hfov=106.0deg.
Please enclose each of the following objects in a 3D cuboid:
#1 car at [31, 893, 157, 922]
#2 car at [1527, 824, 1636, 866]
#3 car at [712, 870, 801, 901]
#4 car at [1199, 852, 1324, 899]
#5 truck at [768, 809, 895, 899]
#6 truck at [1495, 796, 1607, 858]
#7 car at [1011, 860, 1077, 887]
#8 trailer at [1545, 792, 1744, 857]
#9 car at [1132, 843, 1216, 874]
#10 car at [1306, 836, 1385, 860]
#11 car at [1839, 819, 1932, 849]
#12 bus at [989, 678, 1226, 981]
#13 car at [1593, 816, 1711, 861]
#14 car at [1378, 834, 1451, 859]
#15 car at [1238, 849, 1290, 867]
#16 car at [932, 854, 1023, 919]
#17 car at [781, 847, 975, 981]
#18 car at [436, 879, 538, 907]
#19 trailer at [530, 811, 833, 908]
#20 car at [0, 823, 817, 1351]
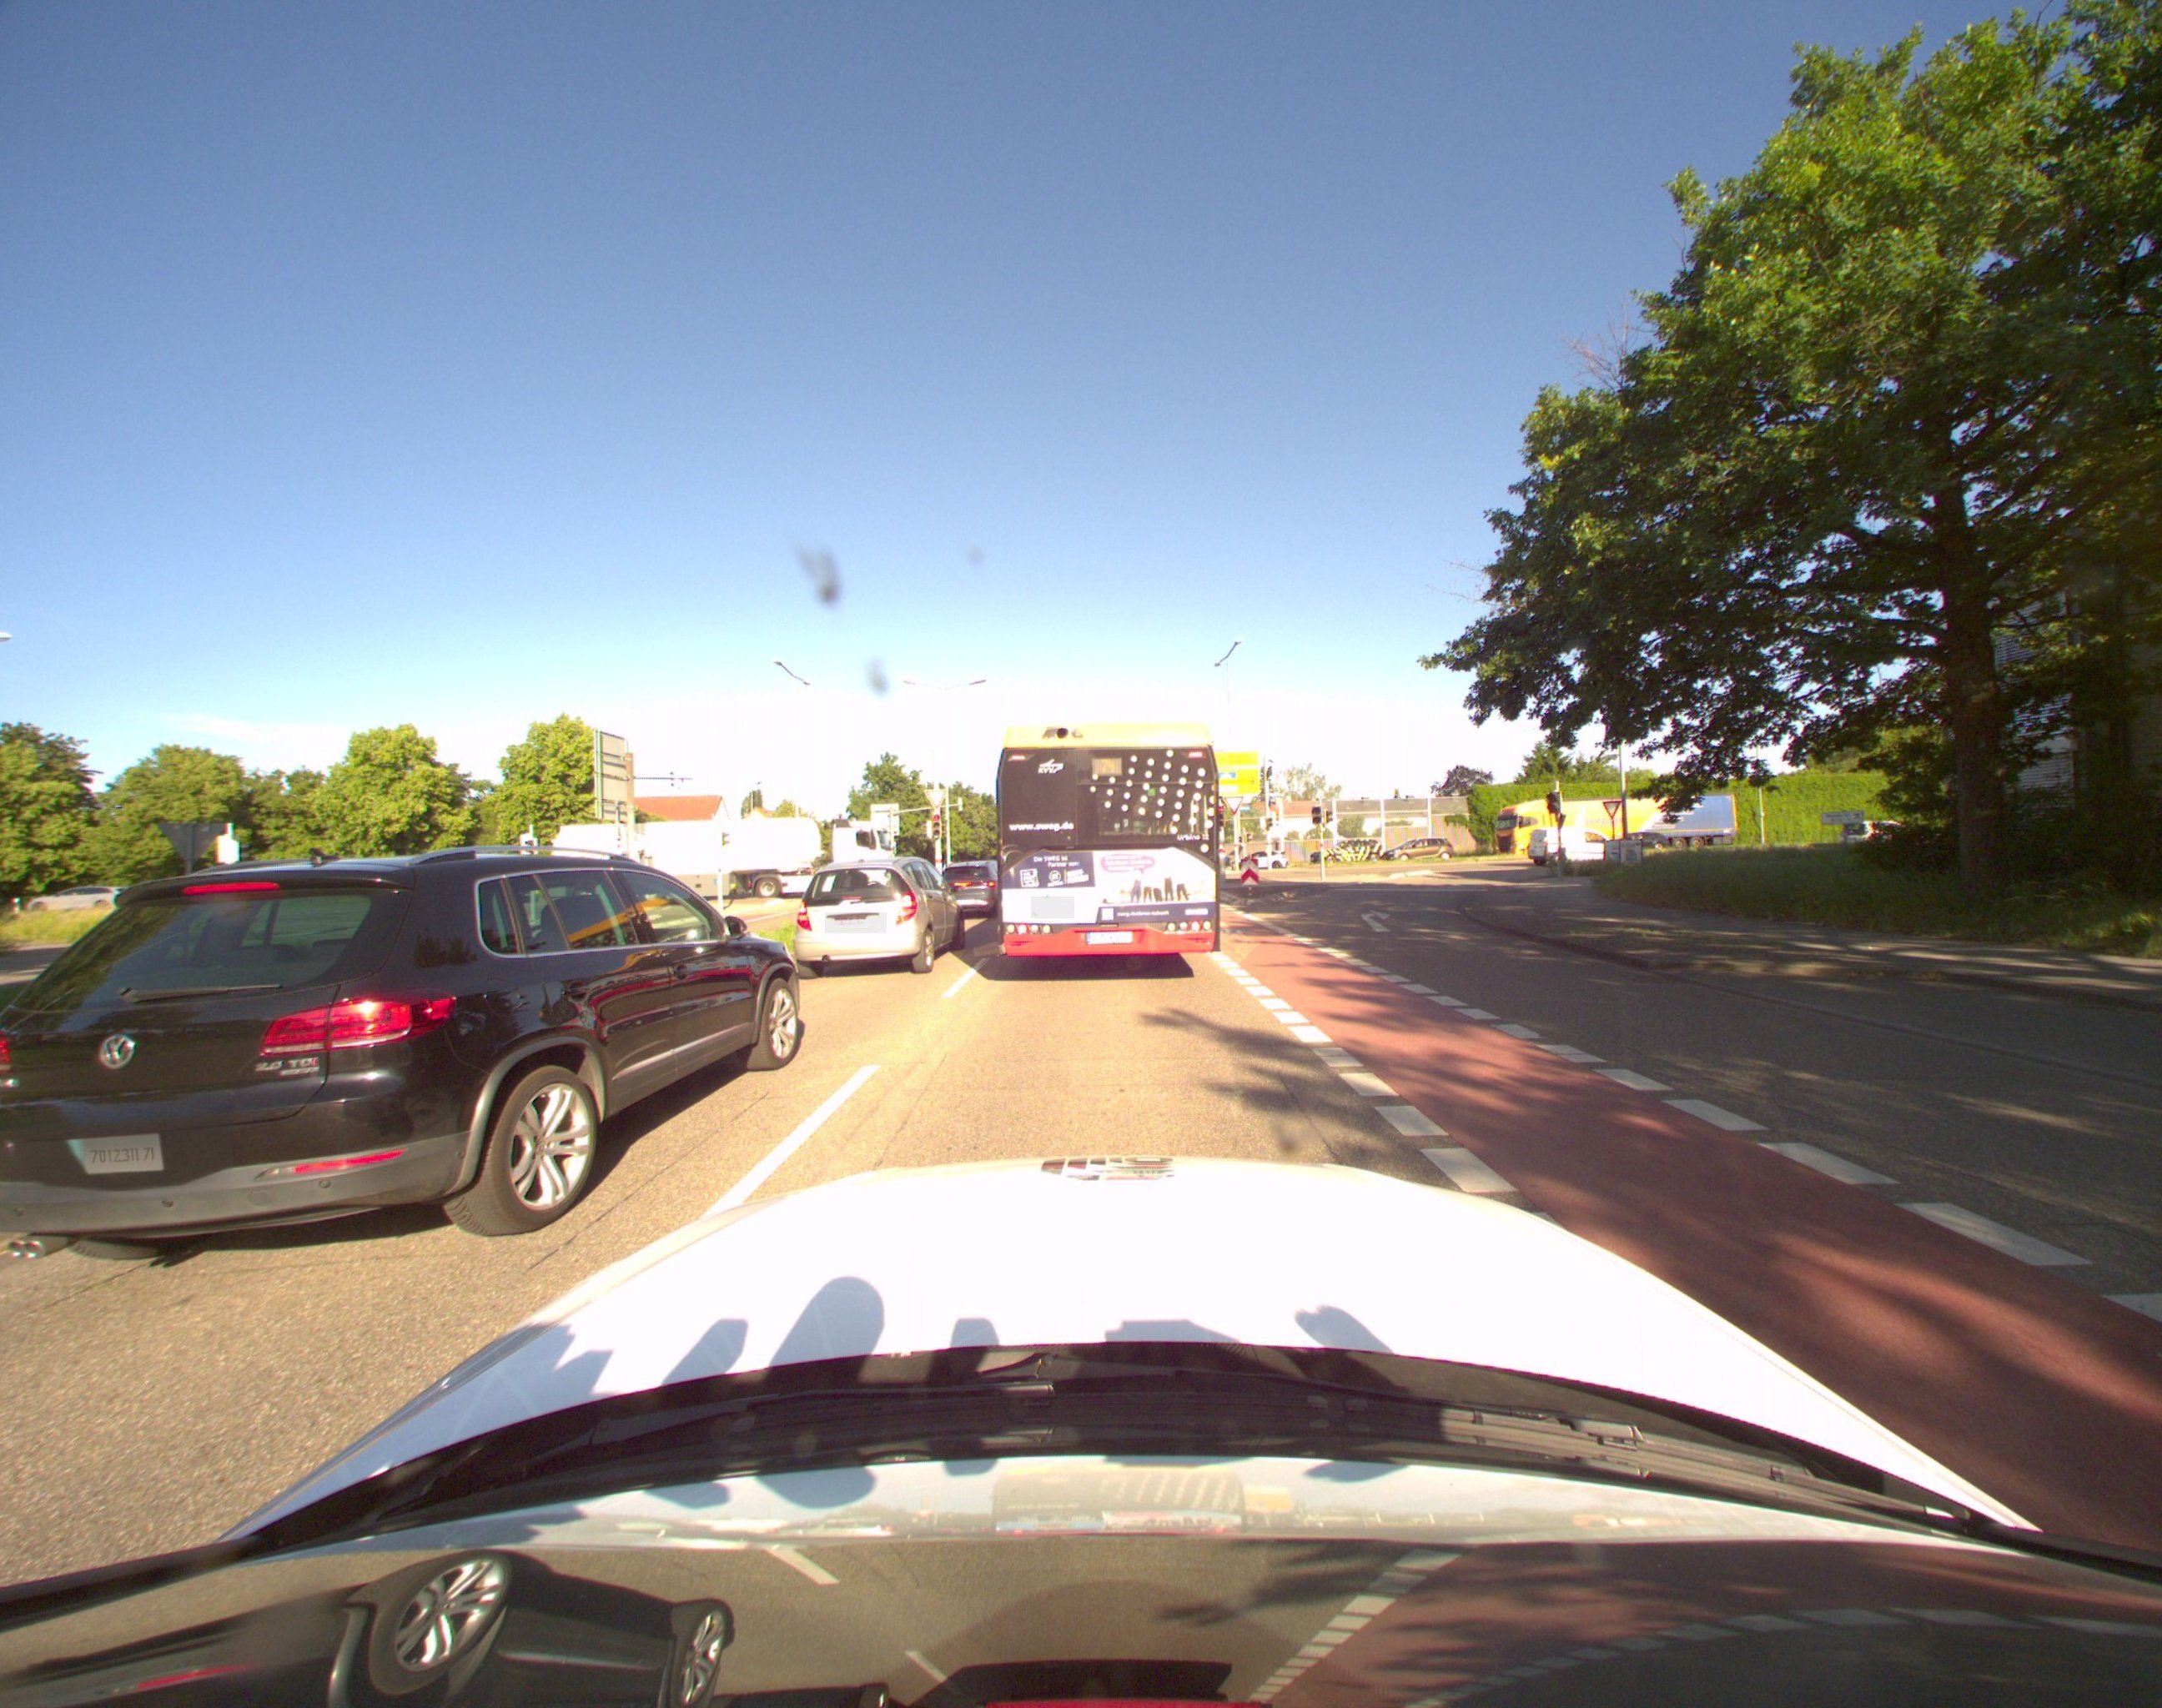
[{"bbox_3d":[-54.077,2.912,44.689,4.414,1.459,1.569,-1,-1,-10],"label":"car"},{"bbox_3d":[23.422,-0.407,38.194,4.094,1.801,1.459,-2,-1,3],"label":"car"},{"bbox_3d":[-19.117,1.835,48.152,4.522,1.715,1.995,-1,-1,-7],"label":"car"},{"bbox_3d":[5.333,0.618,24.245,3.500,1.302,1.579,-1,1,10],"label":"car"},{"bbox_3d":[-10.921,-0.020,36.028,4.790,3.695,2.408,-2,0,-3],"label":"truck"},{"bbox_3d":[32.234,-1.825,55.974,6.387,3.998,2.468,-2,0,-5],"label":"truck"},{"bbox_3d":[-2.273,1.189,49.808,3.980,1.553,1.693,-1,-1,-5],"label":"car"},{"bbox_3d":[39.091,-2.021,56.601,12.712,4.030,2.466,-2,0,-5],"label":"trailer"},{"bbox_3d":[4.913,0.260,43.315,4.212,1.563,1.761,-1,-1,-3],"label":"car"},{"bbox_3d":[15.418,-0.325,47.571,4.148,1.302,1.573,-1,-1,-2],"label":"car"},{"bbox_3d":[44.210,-1.082,44.778,3.664,1.486,1.591,-2,-1,-5],"label":"car"},{"bbox_3d":[0.480,-0.272,15.052,2.586,3.334,11.988,-1,0,2],"label":"bus"},{"bbox_3d":[17.890,-0.463,25.502,3.412,1.296,1.449,0,-1,-24],"label":"car"},{"bbox_3d":[21.111,-0.470,51.612,3.980,1.442,1.563,-1,-1,-5],"label":"car"},{"bbox_3d":[13.688,0.293,60.825,3.552,1.265,1.361,-2,0,22],"label":"car"},{"bbox_3d":[-2.586,0.806,21.203,1.581,1.486,3.686,-2,-1,4],"label":"car"},{"bbox_3d":[-2.855,0.748,12.430,1.747,1.620,4.036,-2,1,2],"label":"car"},{"bbox_3d":[-29.781,1.939,40.930,3.842,1.313,1.504,-1,-1,-7],"label":"car"},{"bbox_3d":[-16.974,0.177,35.354,11.469,3.696,2.389,-2,0,-8],"label":"trailer"},{"bbox_3d":[-3.169,0.816,4.699,1.814,1.673,4.004,-3,-1,1],"label":"car"}]
